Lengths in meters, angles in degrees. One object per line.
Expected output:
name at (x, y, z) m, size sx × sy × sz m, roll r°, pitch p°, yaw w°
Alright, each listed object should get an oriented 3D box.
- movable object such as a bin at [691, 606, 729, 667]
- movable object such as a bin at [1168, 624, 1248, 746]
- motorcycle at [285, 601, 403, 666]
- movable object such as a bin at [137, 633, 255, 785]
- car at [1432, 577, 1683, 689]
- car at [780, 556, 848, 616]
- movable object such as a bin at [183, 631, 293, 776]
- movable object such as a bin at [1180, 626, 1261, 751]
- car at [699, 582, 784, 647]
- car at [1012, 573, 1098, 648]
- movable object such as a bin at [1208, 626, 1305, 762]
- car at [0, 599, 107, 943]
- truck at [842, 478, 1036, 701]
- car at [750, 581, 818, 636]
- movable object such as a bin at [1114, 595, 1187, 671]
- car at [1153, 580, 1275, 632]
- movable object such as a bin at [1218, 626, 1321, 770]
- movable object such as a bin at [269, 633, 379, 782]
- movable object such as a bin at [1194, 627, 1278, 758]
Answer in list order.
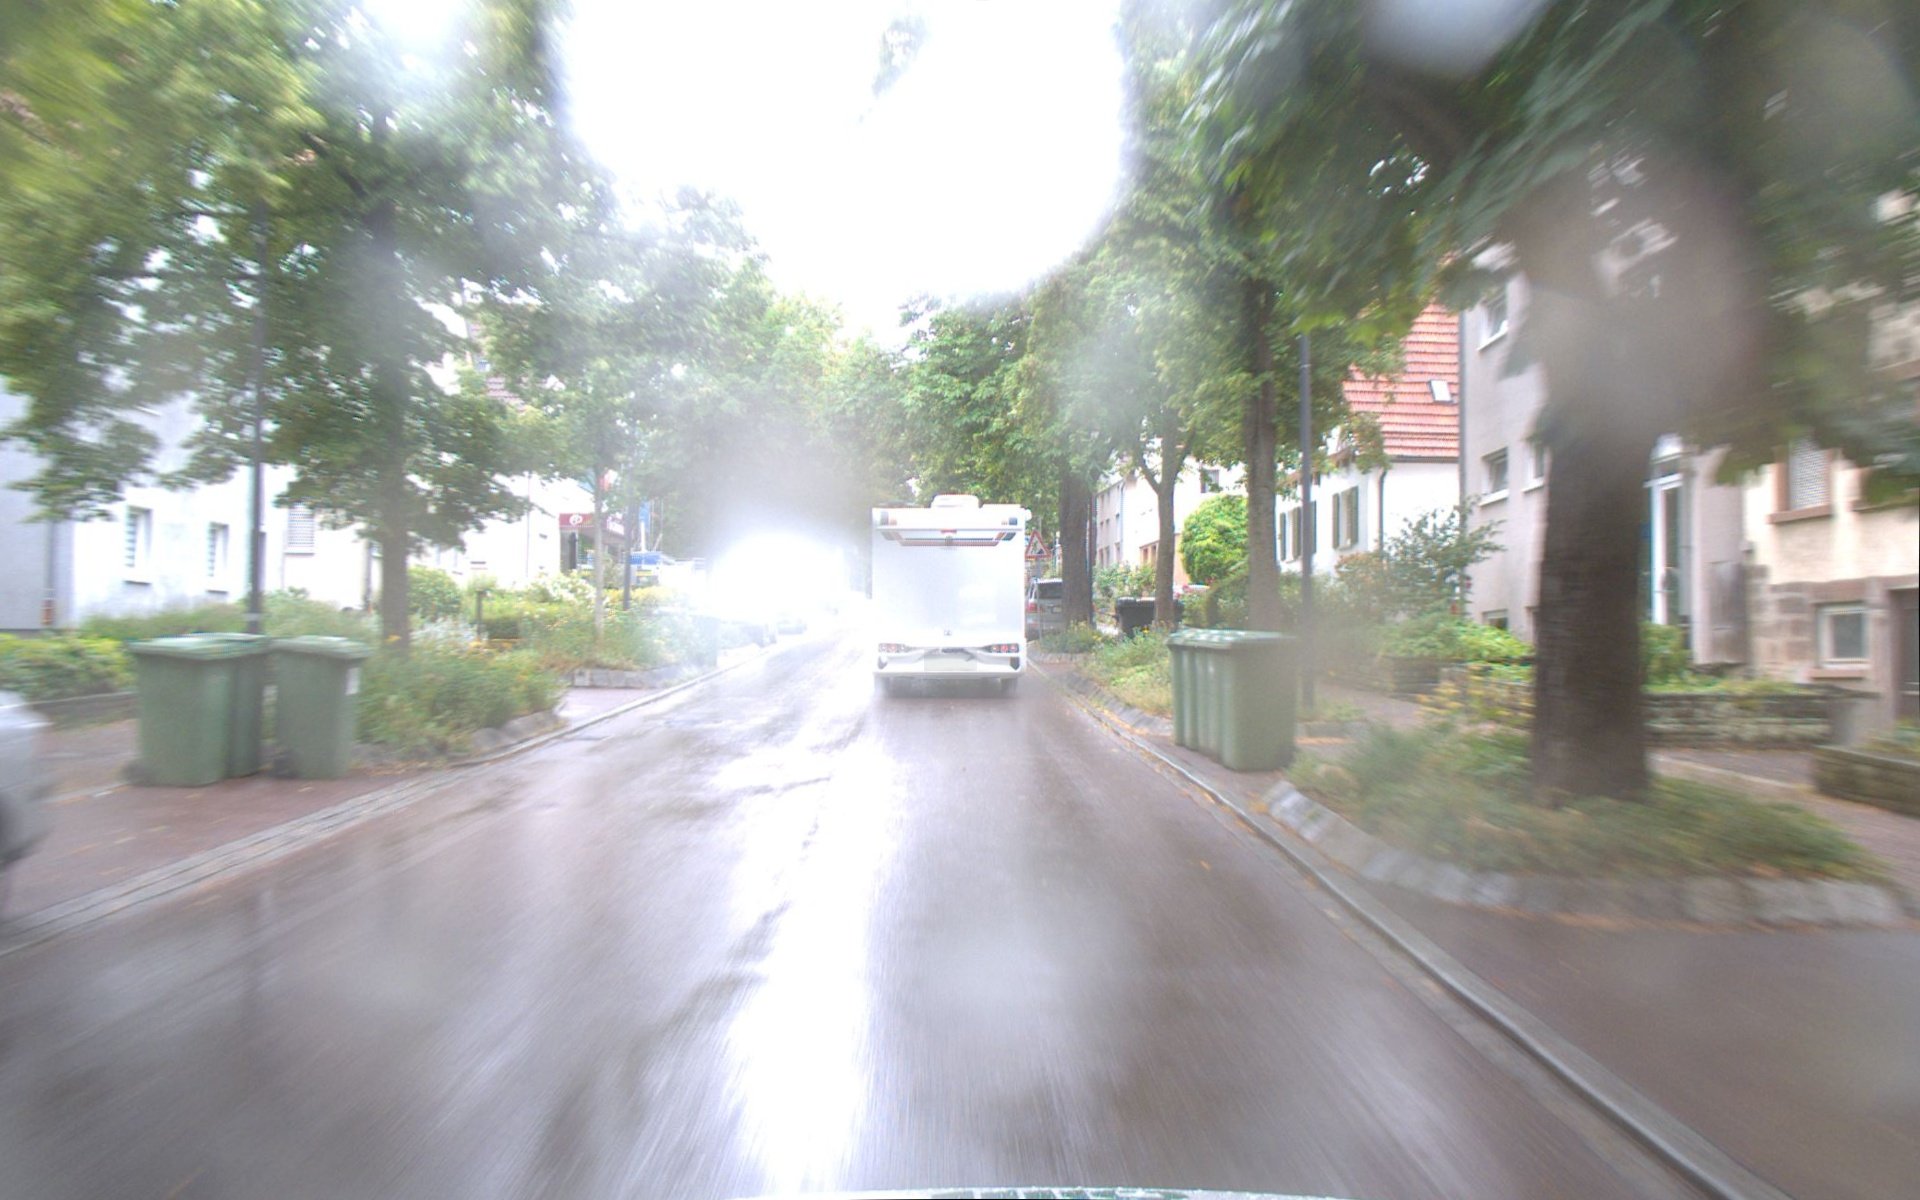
movable object such as a bin at (-4.772, 0.692, 31.603) m, size 0.629 × 1.130 × 0.536 m, roll 0°, pitch 1°, yaw 1°
movable object such as a bin at (2.319, 0.789, 15.503) m, size 0.631 × 1.101 × 0.540 m, roll 1°, pitch 0°, yaw -5°
motorcycle at (-11.778, 0.634, 31.657) m, size 1.942 × 1.182 × 0.818 m, roll 1°, pitch 0°, yaw -1°
movable object such as a bin at (-5.694, 0.800, 12.344) m, size 0.582 × 1.081 × 0.545 m, roll 2°, pitch 0°, yaw 2°
car at (12.328, 0.667, 34.301) m, size 4.372 × 1.933 × 1.999 m, roll 4°, pitch -1°, yaw -2°
car at (-6.366, -0.662, 72.667) m, size 2.256 × 2.526 × 5.786 m, roll 1°, pitch 1°, yaw 2°
movable object such as a bin at (-5.651, 0.797, 12.968) m, size 0.582 × 1.081 × 0.545 m, roll 2°, pitch 0°, yaw 2°
movable object such as a bin at (2.351, 0.795, 14.955) m, size 0.618 × 1.101 × 0.471 m, roll 1°, pitch 0°, yaw -5°
car at (-5.653, 0.346, 43.166) m, size 1.613 × 1.560 × 3.866 m, roll 2°, pitch 1°, yaw 1°
car at (2.432, 0.248, 43.360) m, size 1.875 × 1.823 × 4.487 m, roll 1°, pitch 0°, yaw -1°
movable object such as a bin at (2.460, 0.770, 13.742) m, size 0.674 × 1.101 × 0.540 m, roll 0°, pitch 0°, yaw -5°
car at (-4.848, 0.707, 5.381) m, size 1.736 × 1.413 × 4.545 m, roll 2°, pitch 0°, yaw 0°
truck at (-0.341, -0.152, 25.967) m, size 2.640 × 3.038 × 6.235 m, roll 1°, pitch 0°, yaw -1°
car at (-5.549, 0.231, 52.441) m, size 1.735 × 1.580 × 3.999 m, roll 2°, pitch 1°, yaw -1°
movable object such as a bin at (3.416, 0.581, 29.716) m, size 1.199 × 1.338 × 1.134 m, roll 0°, pitch 0°, yaw 1°
car at (7.514, 0.169, 49.087) m, size 3.298 × 1.455 × 1.629 m, roll -1°, pitch 0°, yaw -4°
movable object such as a bin at (2.460, 0.770, 13.169) m, size 0.674 × 1.101 × 0.540 m, roll 1°, pitch 0°, yaw -5°
movable object such as a bin at (-4.940, 0.825, 12.870) m, size 0.582 × 1.081 × 0.545 m, roll 3°, pitch 1°, yaw 2°
movable object such as a bin at (2.400, 0.798, 14.414) m, size 0.597 × 1.101 × 0.512 m, roll 1°, pitch 0°, yaw -5°
